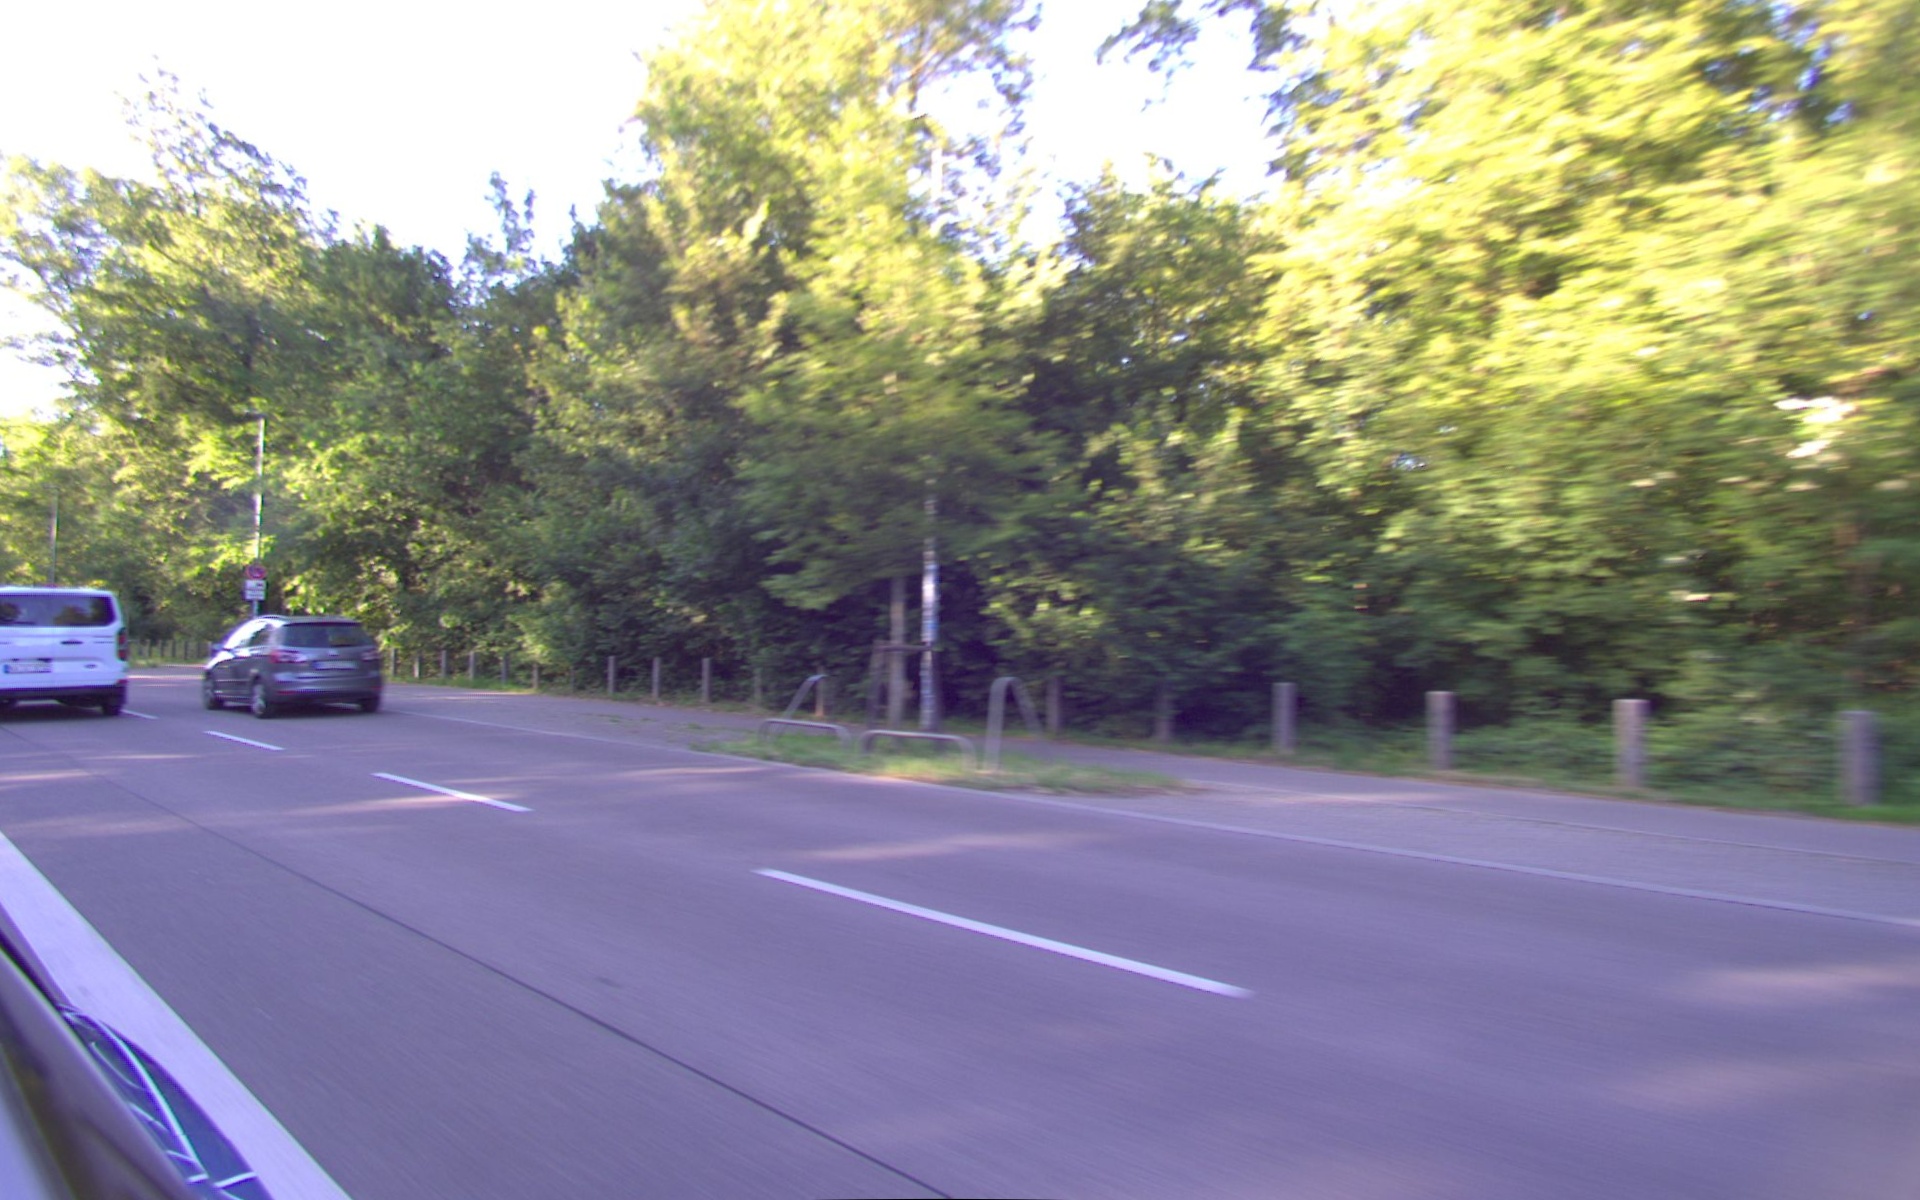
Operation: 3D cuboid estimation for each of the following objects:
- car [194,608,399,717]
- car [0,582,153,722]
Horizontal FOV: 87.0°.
[{"bbox_3d":[-11.162,0.974,16.936,3.997,1.612,1.782,-1,-2,40],"label":"car"},{"bbox_3d":[-15.049,0.771,16.395,4.910,1.976,2.184,-1,-1,40],"label":"car"}]
